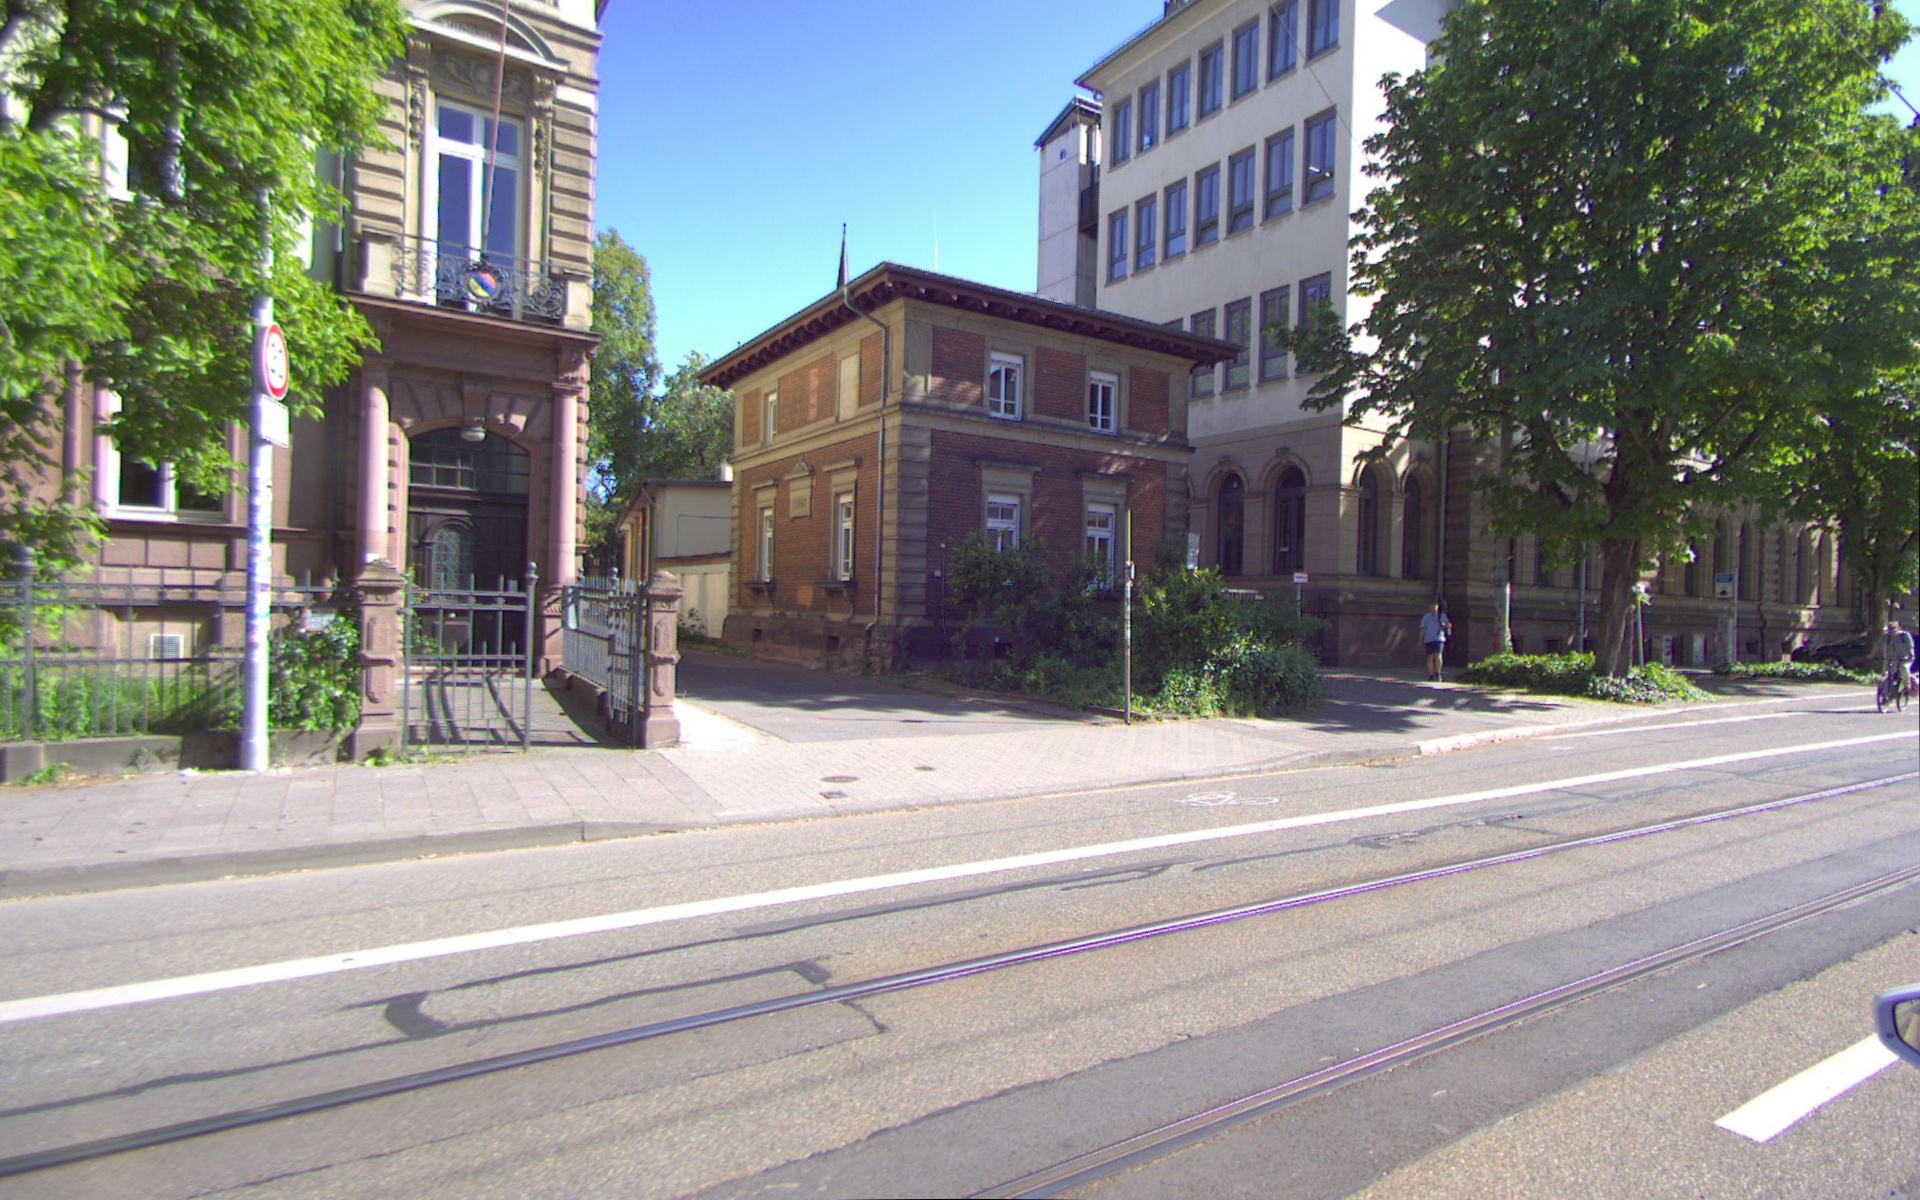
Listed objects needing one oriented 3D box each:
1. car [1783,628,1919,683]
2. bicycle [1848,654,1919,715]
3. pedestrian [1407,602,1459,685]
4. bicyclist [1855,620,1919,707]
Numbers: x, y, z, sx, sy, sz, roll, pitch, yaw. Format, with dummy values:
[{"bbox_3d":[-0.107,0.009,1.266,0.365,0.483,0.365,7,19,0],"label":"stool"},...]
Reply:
[{"bbox_3d":[30.471,1.858,33.843,3.929,1.570,1.874,3,1,31],"label":"car"},{"bbox_3d":[18.409,1.648,19.855,1.907,1.139,0.684,2,-2,-28],"label":"bicycle"},{"bbox_3d":[10.825,0.977,22.975,0.774,1.821,0.722,1,3,-43],"label":"pedestrian"},{"bbox_3d":[18.398,1.245,19.856,1.222,1.666,0.684,2,-2,-28],"label":"bicyclist"}]
